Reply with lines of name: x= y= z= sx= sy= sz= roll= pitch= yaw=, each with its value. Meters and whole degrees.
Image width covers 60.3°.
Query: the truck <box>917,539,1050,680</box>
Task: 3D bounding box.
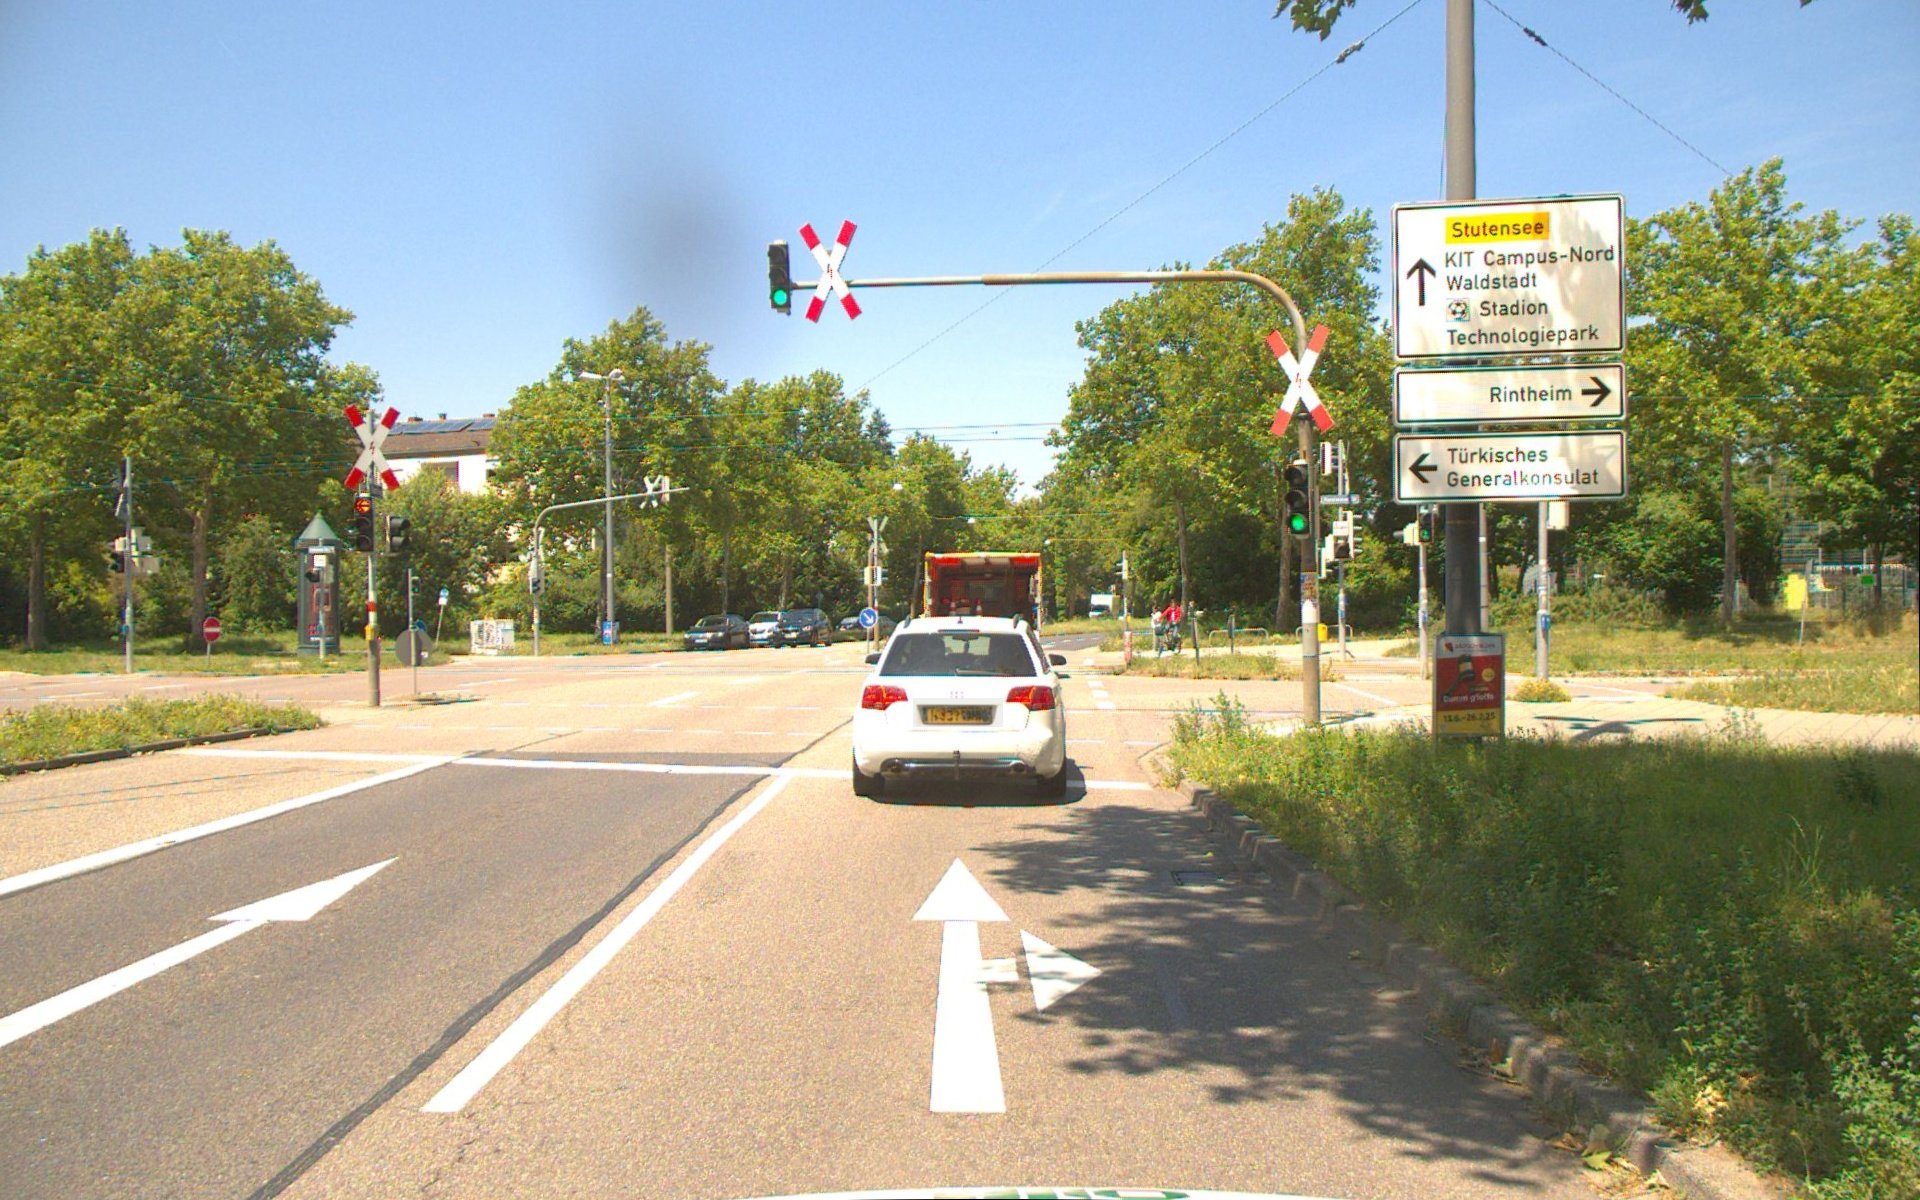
truck: x=0.465 y=0.226 z=34.774 sx=2.459 sy=2.604 sz=7.602 roll=1 pitch=-1 yaw=0

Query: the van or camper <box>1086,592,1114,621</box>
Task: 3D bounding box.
van or camper: x=16.689 y=0.774 z=196.677 sx=2.604 sy=3.389 sz=5.505 roll=-1 pitch=0 yaw=12

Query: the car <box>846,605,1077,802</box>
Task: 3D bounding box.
car: x=0.054 y=0.780 z=14.215 sx=1.726 sy=1.471 sz=3.616 roll=0 pitch=0 yaw=1

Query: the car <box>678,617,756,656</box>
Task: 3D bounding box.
car: x=-10.112 y=1.501 z=69.102 sx=1.907 sy=1.465 sz=4.750 roll=-1 pitch=0 yaw=9

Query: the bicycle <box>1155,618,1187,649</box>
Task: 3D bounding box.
bicycle: x=6.495 y=1.028 z=50.817 sx=0.575 sy=0.911 sz=1.811 roll=-1 pitch=0 yaw=21

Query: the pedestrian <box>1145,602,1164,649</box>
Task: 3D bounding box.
pedestrian: x=6.408 y=0.836 z=54.392 sx=0.541 sy=1.510 sz=0.630 roll=-1 pitch=0 yaw=14

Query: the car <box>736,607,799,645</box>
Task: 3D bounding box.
car: x=-8.827 y=1.183 z=76.157 sx=1.749 sy=1.643 sz=4.408 roll=-1 pitch=0 yaw=9

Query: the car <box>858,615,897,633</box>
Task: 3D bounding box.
car: x=-6.995 y=2.023 z=139.935 sx=1.843 sy=1.400 sz=4.000 roll=-1 pitch=0 yaw=21

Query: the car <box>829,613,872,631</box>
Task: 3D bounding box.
car: x=-8.865 y=1.774 z=134.575 sx=1.844 sy=1.417 sz=3.998 roll=-1 pitch=0 yaw=24

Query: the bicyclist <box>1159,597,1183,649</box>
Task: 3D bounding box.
bicyclist: x=6.501 y=0.693 z=50.858 sx=0.565 sy=1.583 sz=0.674 roll=-1 pitch=0 yaw=21

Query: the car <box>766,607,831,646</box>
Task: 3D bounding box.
car: x=-6.749 y=1.092 z=69.618 sx=1.868 sy=1.566 sz=4.301 roll=-1 pitch=0 yaw=6

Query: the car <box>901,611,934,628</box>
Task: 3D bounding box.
car: x=-3.807 y=1.764 z=149.564 sx=1.842 sy=1.500 sz=4.002 roll=-1 pitch=0 yaw=17
